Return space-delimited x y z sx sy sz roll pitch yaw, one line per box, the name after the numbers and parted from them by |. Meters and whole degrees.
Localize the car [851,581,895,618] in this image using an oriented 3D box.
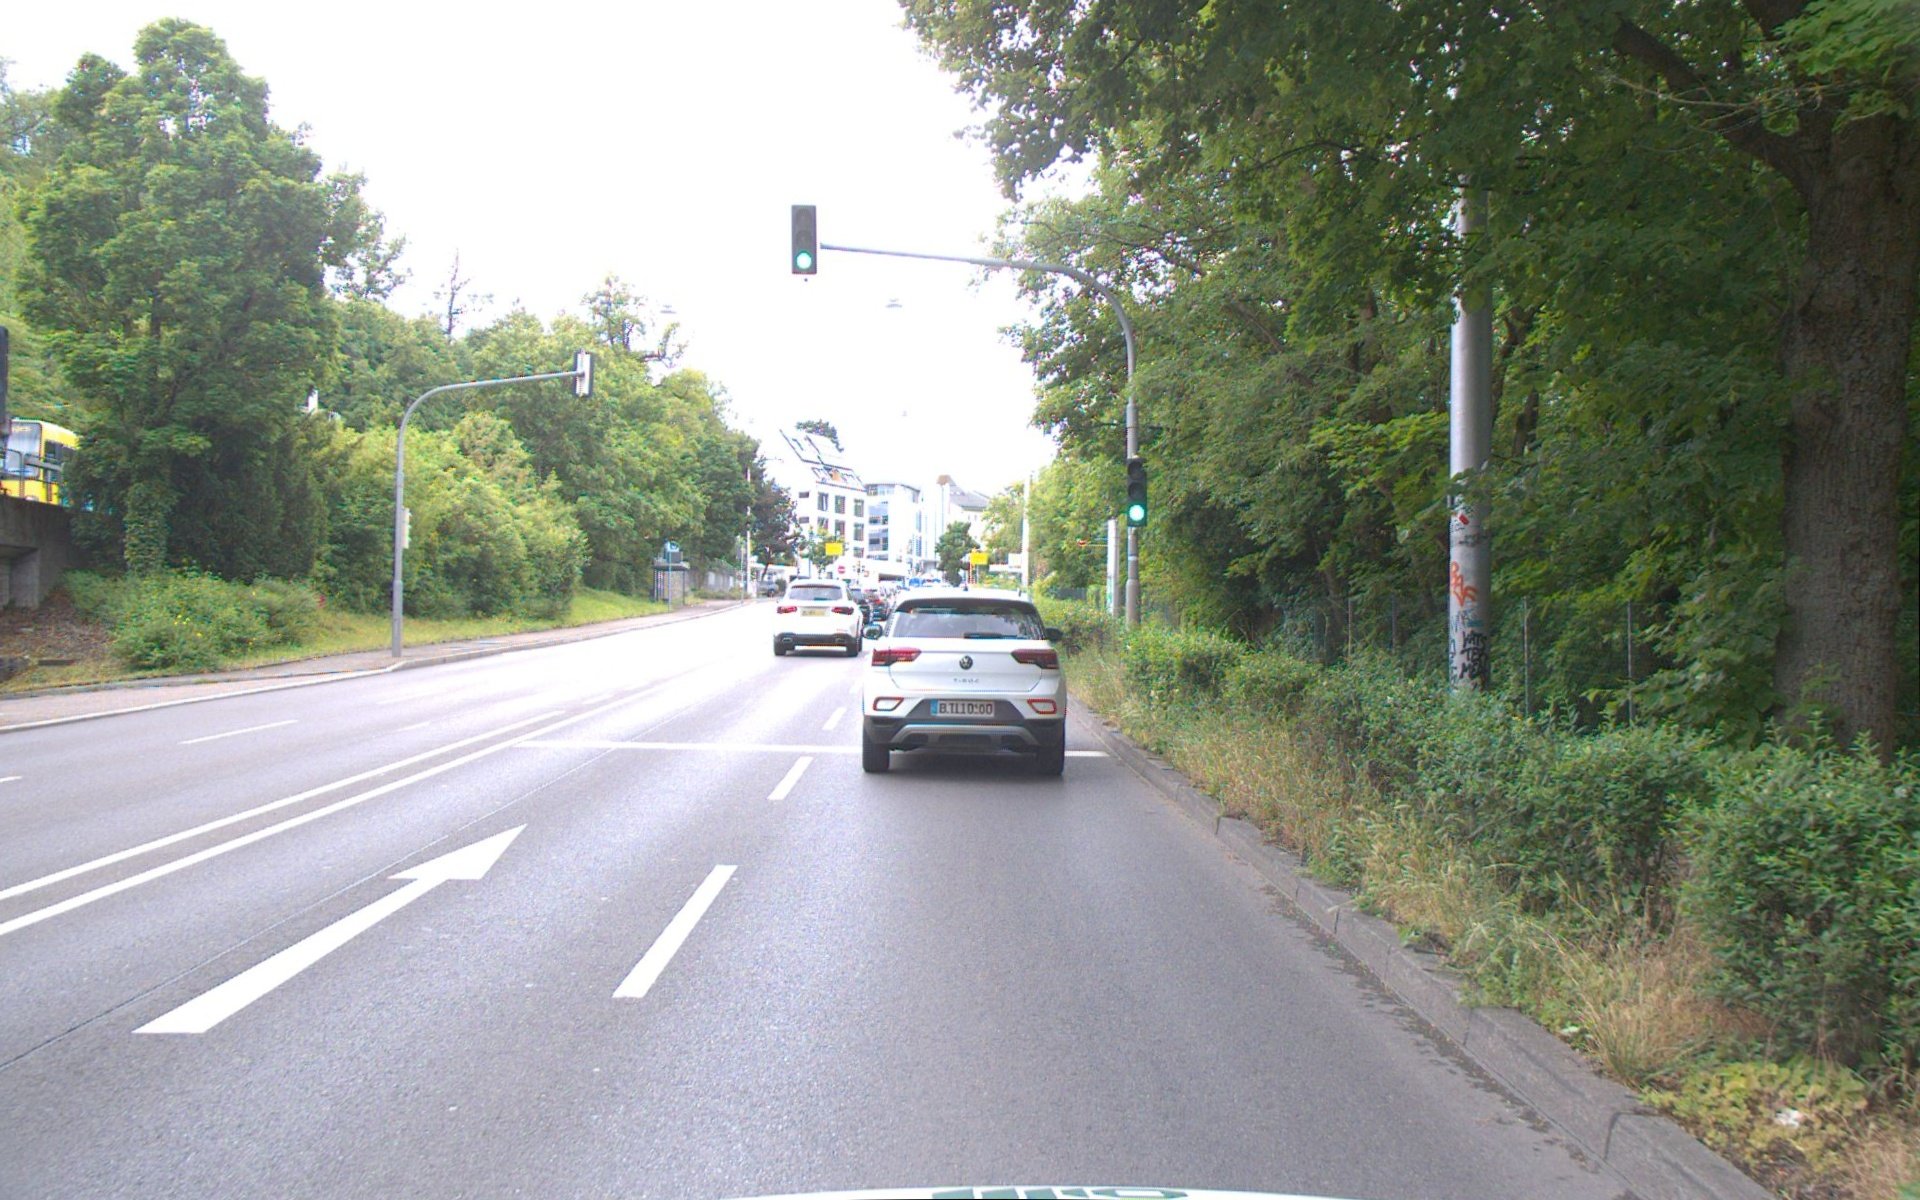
-3.796 -0.053 72.532 1.792 1.552 3.999 -1 0 -1 | car

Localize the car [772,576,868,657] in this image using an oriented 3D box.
-3.075 0.339 37.017 1.879 1.698 3.999 -1 0 -1 | car

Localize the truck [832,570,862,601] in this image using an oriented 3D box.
-11.676 -1.483 172.041 2.245 3.104 6.982 -1 0 3 | truck

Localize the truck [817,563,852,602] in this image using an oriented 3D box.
-9.230 -1.280 121.972 2.314 2.754 4.477 -1 0 -1 | truck

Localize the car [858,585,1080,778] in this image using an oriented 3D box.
0.036 0.642 15.361 1.792 1.552 3.999 0 0 -1 | car

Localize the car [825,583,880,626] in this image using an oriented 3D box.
-3.878 0.146 60.353 1.792 1.523 3.999 -1 0 -1 | car

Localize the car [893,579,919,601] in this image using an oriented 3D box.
-3.795 -0.705 116.966 1.792 1.552 3.999 -1 0 -1 | car

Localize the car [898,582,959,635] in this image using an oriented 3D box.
-0.978 0.240 50.881 1.792 1.552 3.999 -1 0 -1 | car

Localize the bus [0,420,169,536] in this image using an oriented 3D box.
-27.810 -3.675 51.693 2.489 2.838 7.941 -1 -1 -1 | bus

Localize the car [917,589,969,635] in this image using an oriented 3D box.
-0.622 0.392 58.663 1.792 1.552 3.999 -1 0 -1 | car
